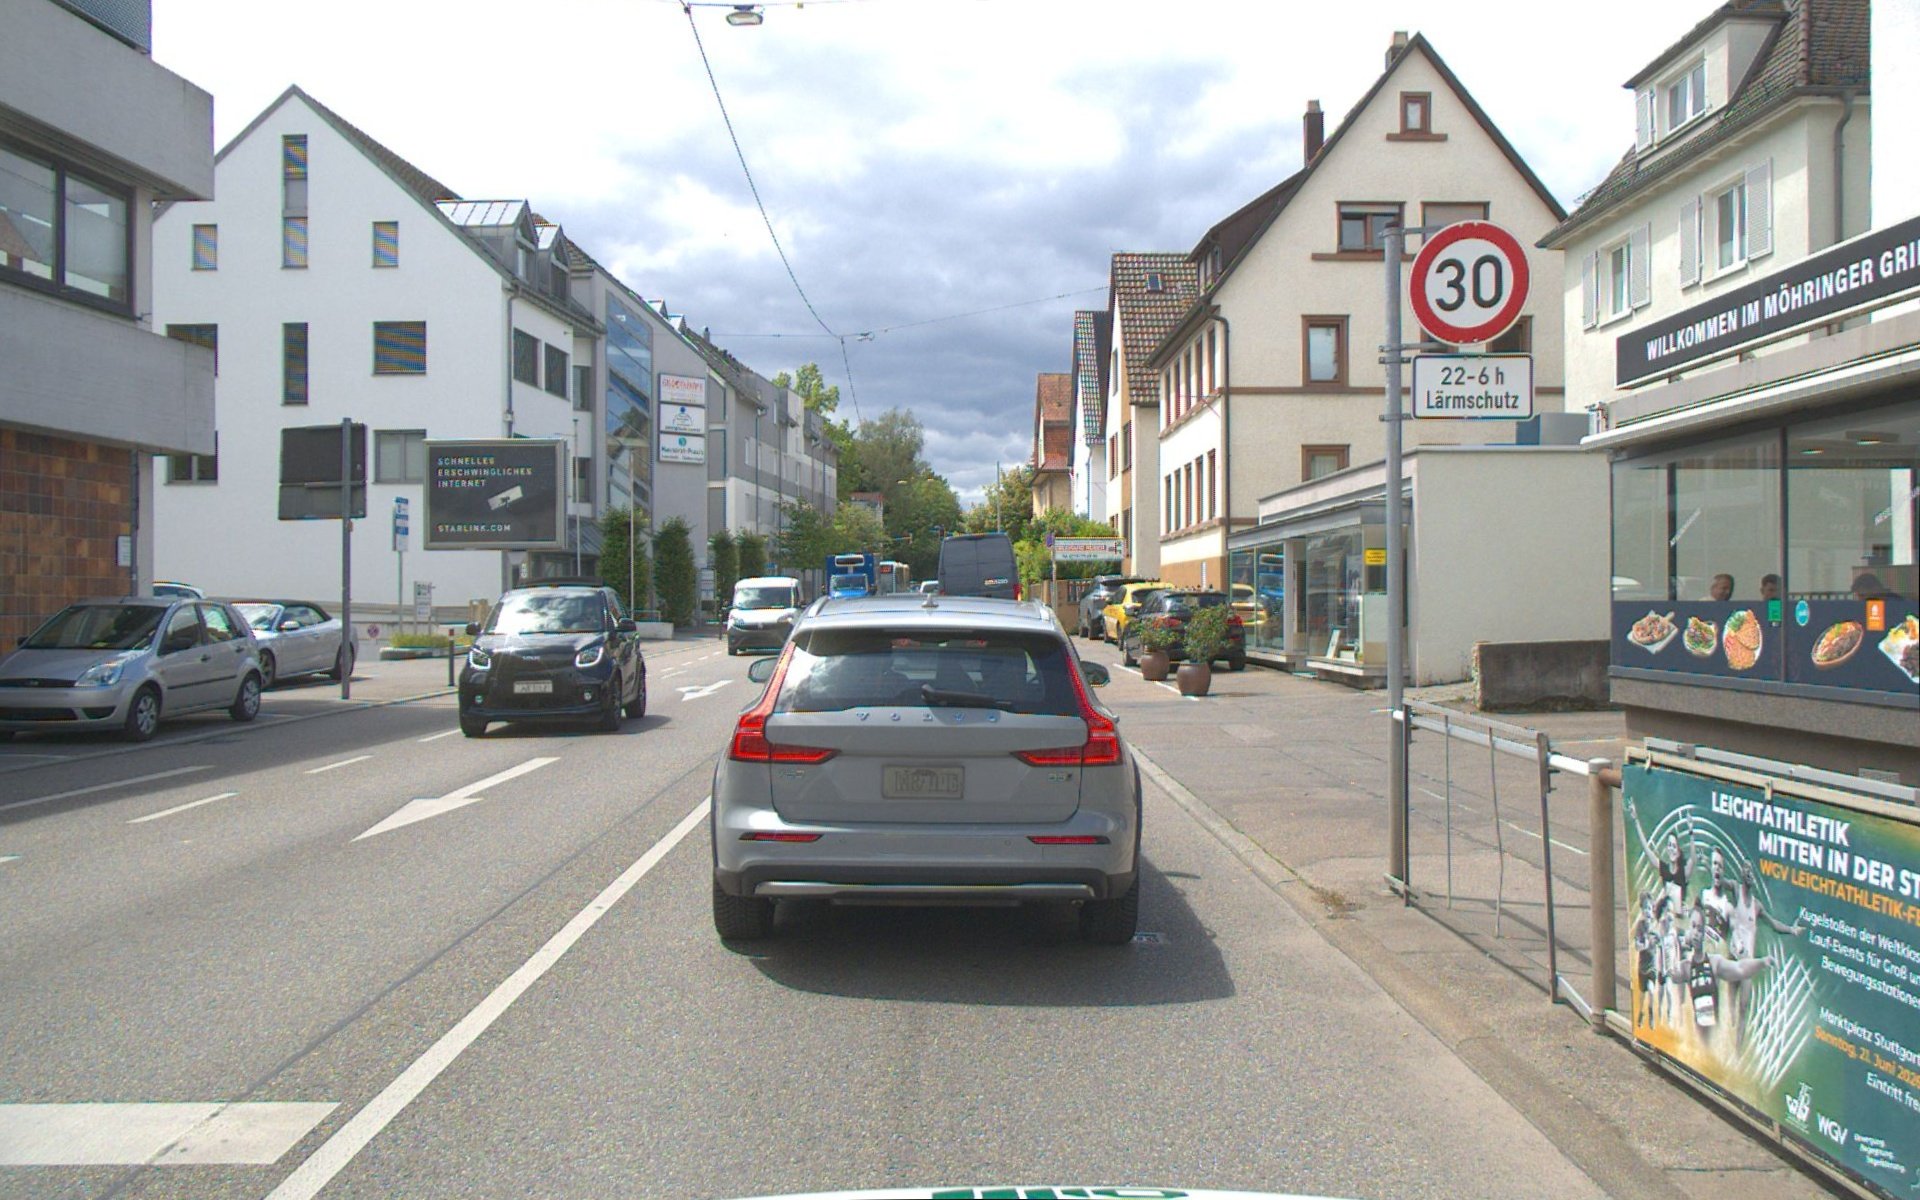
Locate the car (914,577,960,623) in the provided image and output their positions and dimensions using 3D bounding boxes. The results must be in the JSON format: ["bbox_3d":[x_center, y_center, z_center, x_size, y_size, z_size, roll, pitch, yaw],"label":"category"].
[{"bbox_3d":[-1.021,-0.025,75.664,1.952,2.049,4.001,0,0,1],"label":"car"}]

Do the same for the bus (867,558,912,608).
[{"bbox_3d":[-4.630,-1.110,110.230,2.660,3.219,8.068,-1,0,0],"label":"bus"}]

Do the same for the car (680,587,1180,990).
[{"bbox_3d":[-0.075,0.688,8.156,1.857,1.479,3.969,0,0,1],"label":"car"}]

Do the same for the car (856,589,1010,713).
[{"bbox_3d":[-0.306,0.606,22.010,1.857,1.472,3.969,0,0,1],"label":"car"}]

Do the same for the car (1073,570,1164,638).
[{"bbox_3d":[4.120,0.083,43.589,1.823,1.640,4.585,-2,1,-1],"label":"car"}]

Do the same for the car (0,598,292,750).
[{"bbox_3d":[-9.127,0.720,18.297,1.686,1.447,4.149,1,0,2],"label":"car"}]

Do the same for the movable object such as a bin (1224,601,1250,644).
[{"bbox_3d":[6.154,0.504,36.768,0.490,0.941,0.598,-1,0,3],"label":"movable object such as a bin"}]

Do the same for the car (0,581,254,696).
[{"bbox_3d":[-13.990,0.580,27.522,1.910,1.647,4.933,-3,1,6],"label":"car"}]

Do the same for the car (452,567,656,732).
[{"bbox_3d":[-4.412,0.494,18.336,1.643,1.664,2.832,-1,0,-3],"label":"car"}]

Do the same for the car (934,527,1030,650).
[{"bbox_3d":[0.489,-0.295,41.760,2.207,2.844,5.568,-1,0,-1],"label":"car"}]

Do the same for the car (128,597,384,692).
[{"bbox_3d":[-11.418,0.672,27.258,1.910,1.381,4.857,-1,0,3],"label":"car"}]

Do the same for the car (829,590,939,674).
[{"bbox_3d":[-1.508,0.567,31.401,1.860,1.472,3.964,0,0,-6],"label":"car"}]

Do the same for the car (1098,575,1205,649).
[{"bbox_3d":[4.425,0.227,38.806,1.839,1.472,4.306,-1,3,-3],"label":"car"}]

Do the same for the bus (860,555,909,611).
[{"bbox_3d":[-4.530,-1.022,101.120,2.627,3.219,10.182,-1,0,-1],"label":"bus"}]

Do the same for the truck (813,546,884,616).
[{"bbox_3d":[-5.264,-0.904,79.252,2.795,3.147,8.089,-1,0,0],"label":"truck"}]

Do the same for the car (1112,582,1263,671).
[{"bbox_3d":[4.064,0.426,30.292,1.929,1.473,4.533,-1,0,-3],"label":"car"}]

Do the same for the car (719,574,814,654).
[{"bbox_3d":[-4.758,0.318,41.170,1.906,1.852,4.277,-1,0,-1],"label":"car"}]
